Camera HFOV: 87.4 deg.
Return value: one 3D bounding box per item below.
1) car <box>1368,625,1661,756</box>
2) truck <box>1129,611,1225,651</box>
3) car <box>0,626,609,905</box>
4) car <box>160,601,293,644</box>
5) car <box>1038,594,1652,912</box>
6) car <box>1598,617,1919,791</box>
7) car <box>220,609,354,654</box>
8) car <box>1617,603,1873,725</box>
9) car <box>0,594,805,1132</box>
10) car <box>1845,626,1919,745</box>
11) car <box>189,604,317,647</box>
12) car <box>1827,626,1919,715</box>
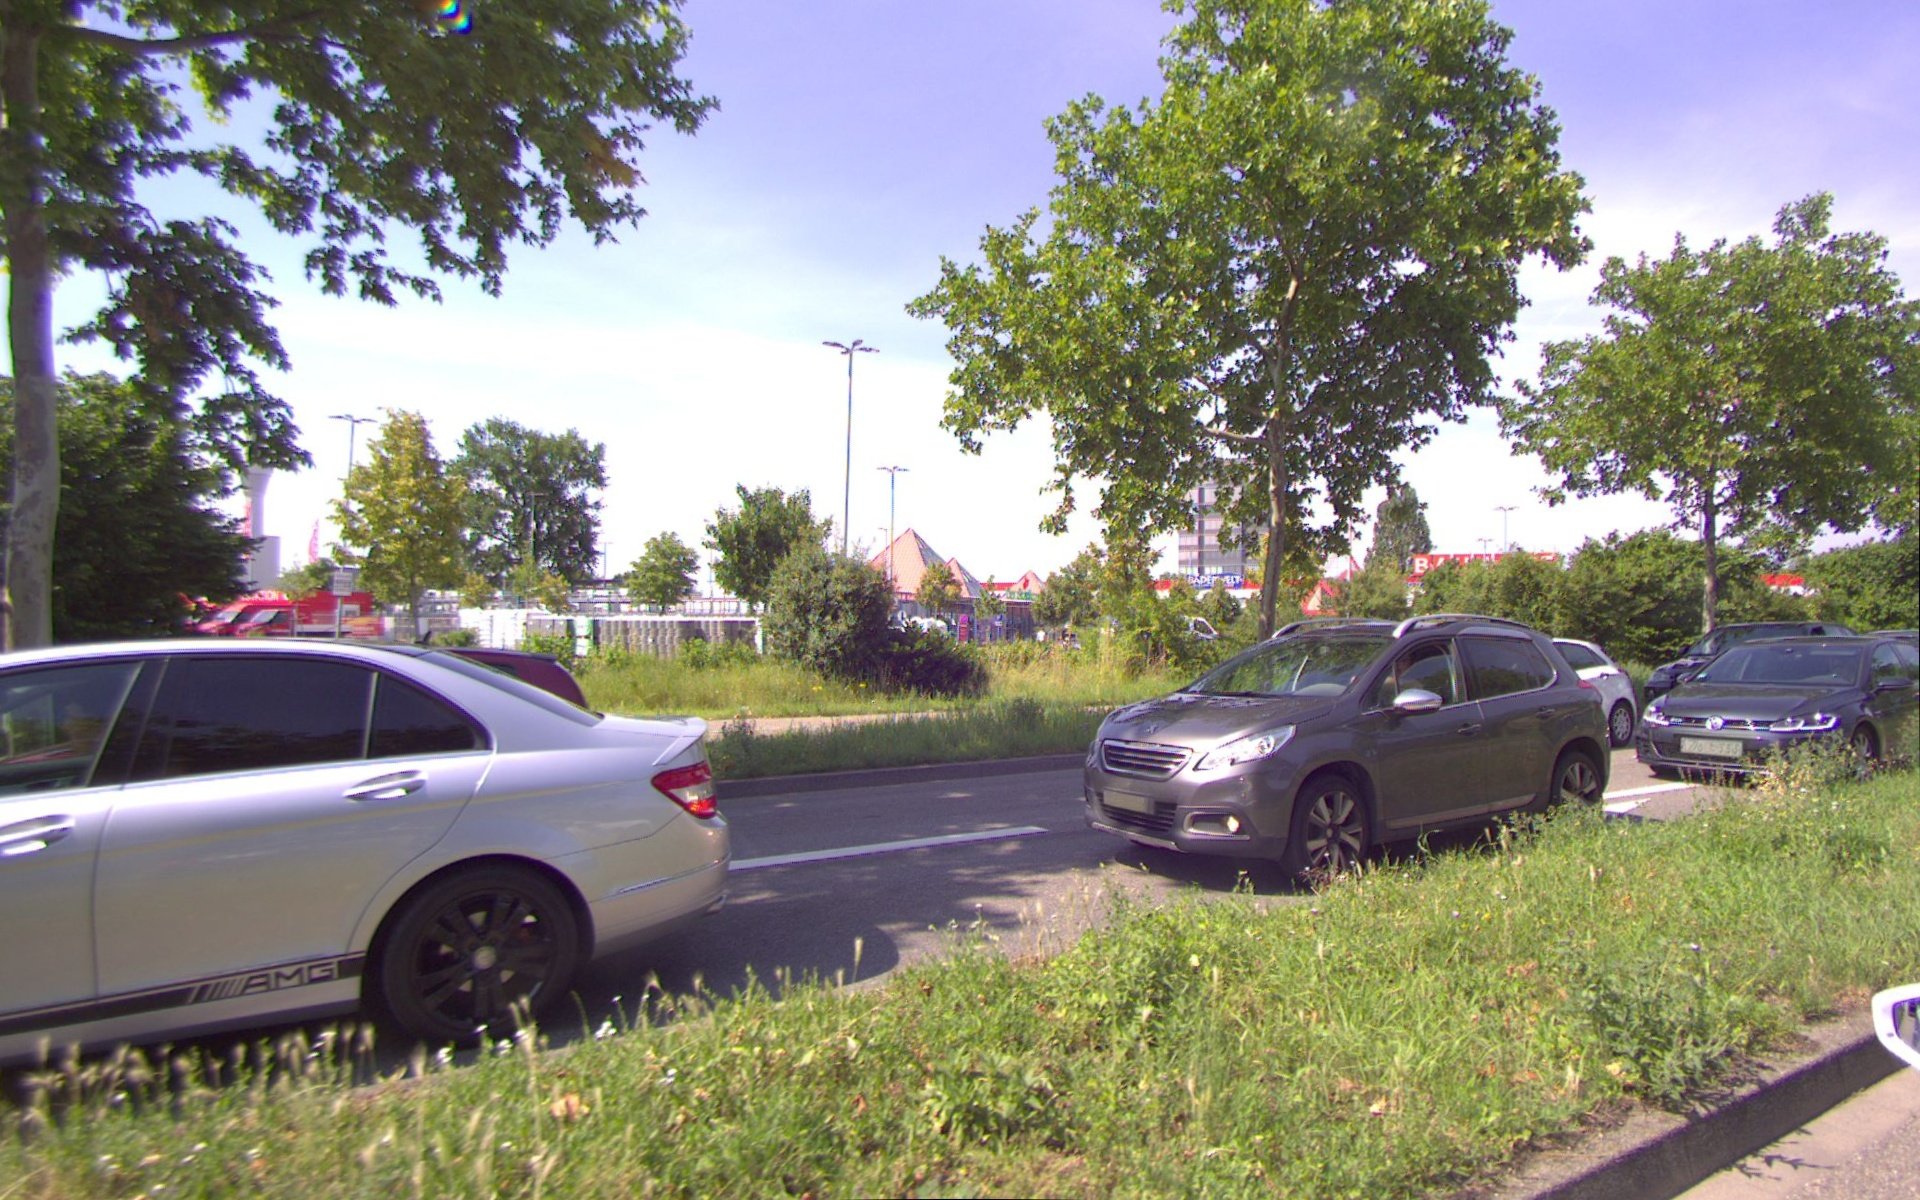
[{"bbox_3d":[7.585,1.138,13.657,4.037,1.550,1.681,1,-3,-31],"label":"car"},{"bbox_3d":[12.121,1.710,56.132,5.120,2.156,2.001,0,-1,14],"label":"truck"},{"bbox_3d":[-4.312,0.943,6.711,3.503,1.471,1.558,1,-4,-30],"label":"car"},{"bbox_3d":[-46.381,1.434,63.720,2.345,2.563,6.430,0,-1,28],"label":"car"},{"bbox_3d":[2.736,0.828,6.893,4.190,1.607,1.681,1,-2,-30],"label":"car"},{"bbox_3d":[8.665,0.961,10.455,4.168,1.493,1.681,1,-3,-30],"label":"car"},{"bbox_3d":[-40.706,1.890,60.980,2.345,2.563,6.430,0,-1,28],"label":"car"},{"bbox_3d":[12.992,1.017,16.545,4.715,1.759,1.812,2,-3,-32],"label":"car"},{"bbox_3d":[-2.981,0.760,3.643,4.469,1.487,1.789,1,-2,-30],"label":"car"},{"bbox_3d":[13.630,1.083,13.363,3.770,1.491,1.681,1,-2,-30],"label":"car"},{"bbox_3d":[-43.852,1.583,62.530,2.345,2.563,6.118,0,-1,28],"label":"car"},{"bbox_3d":[19.617,1.372,20.465,4.129,1.668,1.681,1,-2,-30],"label":"car"}]
